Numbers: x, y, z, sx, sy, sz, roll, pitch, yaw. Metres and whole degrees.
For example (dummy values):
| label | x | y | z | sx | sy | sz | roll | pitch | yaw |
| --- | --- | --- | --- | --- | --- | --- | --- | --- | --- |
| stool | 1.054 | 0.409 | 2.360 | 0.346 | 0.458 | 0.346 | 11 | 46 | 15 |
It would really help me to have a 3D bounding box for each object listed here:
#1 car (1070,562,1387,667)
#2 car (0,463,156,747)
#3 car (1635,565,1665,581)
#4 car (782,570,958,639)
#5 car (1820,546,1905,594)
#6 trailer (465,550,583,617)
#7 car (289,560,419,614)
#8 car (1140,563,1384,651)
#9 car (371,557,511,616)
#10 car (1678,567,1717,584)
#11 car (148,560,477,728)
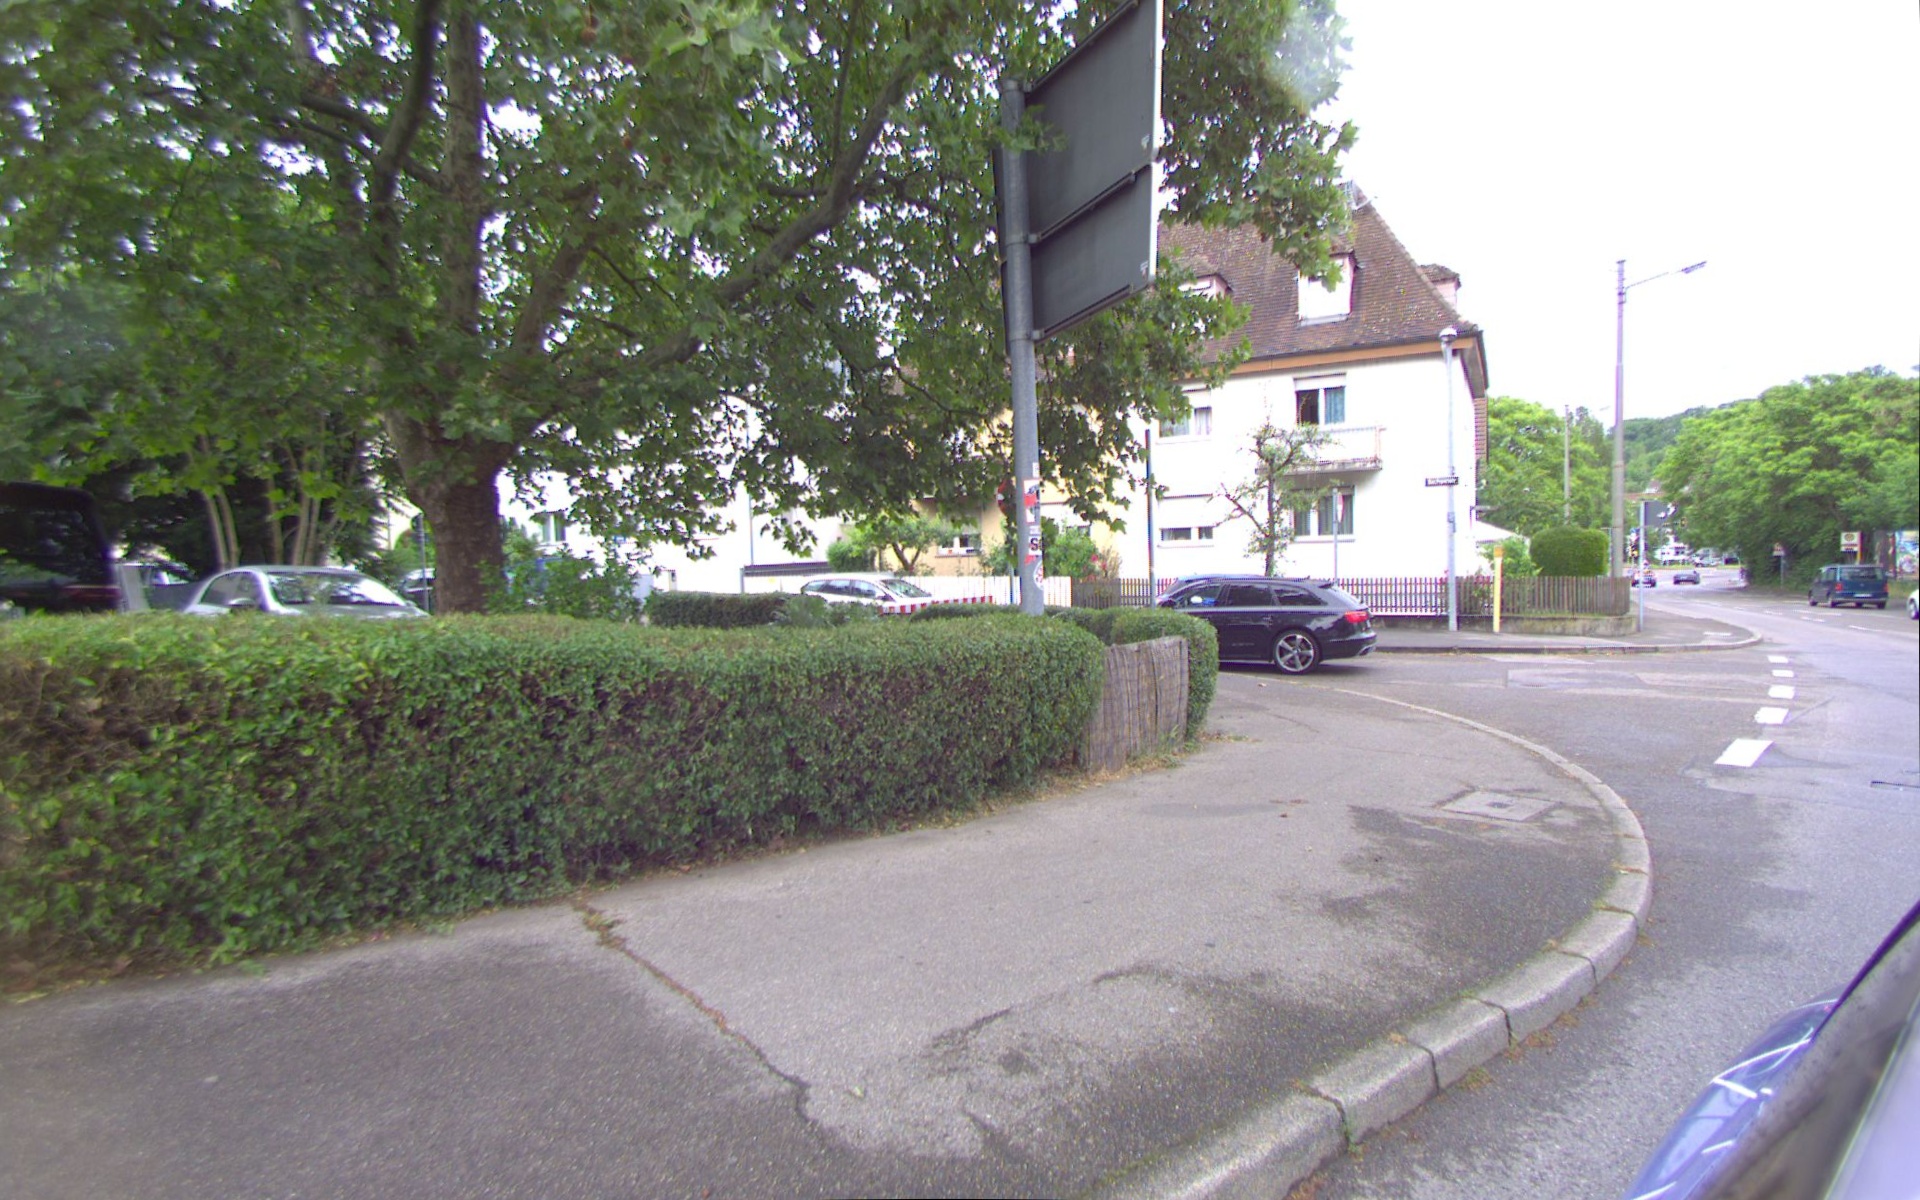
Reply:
| label | x | y | z | sx | sy | sz | roll | pitch | yaw |
| --- | --- | --- | --- | --- | --- | --- | --- | --- | --- |
| car | 4.353 | 0.152 | 16.534 | 4.768 | 1.498 | 1.870 | 1 | 2 | 25 |
| car | -8.555 | 0.005 | 7.970 | 4.376 | 1.956 | 1.980 | 1 | 2 | 29 |
| car | 62.326 | -2.446 | 91.456 | 1.885 | 1.479 | 3.959 | 1 | 2 | 29 |
| car | -2.100 | 0.062 | 23.388 | 3.752 | 1.471 | 1.754 | 1 | 1 | 30 |
| car | 39.033 | -1.293 | 43.896 | 1.949 | 1.955 | 4.631 | 1 | 2 | 32 |
| trailer | -13.943 | -0.547 | 32.359 | 3.456 | 2.038 | 1.657 | 1 | 1 | 26 |
| car | -22.094 | -0.500 | 36.882 | 4.535 | 1.862 | 1.982 | 1 | 2 | 28 |
| car | 5.669 | 0.057 | 19.138 | 4.095 | 1.498 | 1.865 | 1 | 2 | 32 |
| car | -17.525 | -0.488 | 34.167 | 4.535 | 1.862 | 1.982 | 1 | 2 | 28 |
| car | 74.163 | -2.481 | 101.750 | 4.691 | 1.461 | 1.998 | -4 | 2 | -39 |
| car | -7.464 | 0.367 | 11.567 | 3.974 | 1.599 | 1.800 | 1 | 2 | 35 |
